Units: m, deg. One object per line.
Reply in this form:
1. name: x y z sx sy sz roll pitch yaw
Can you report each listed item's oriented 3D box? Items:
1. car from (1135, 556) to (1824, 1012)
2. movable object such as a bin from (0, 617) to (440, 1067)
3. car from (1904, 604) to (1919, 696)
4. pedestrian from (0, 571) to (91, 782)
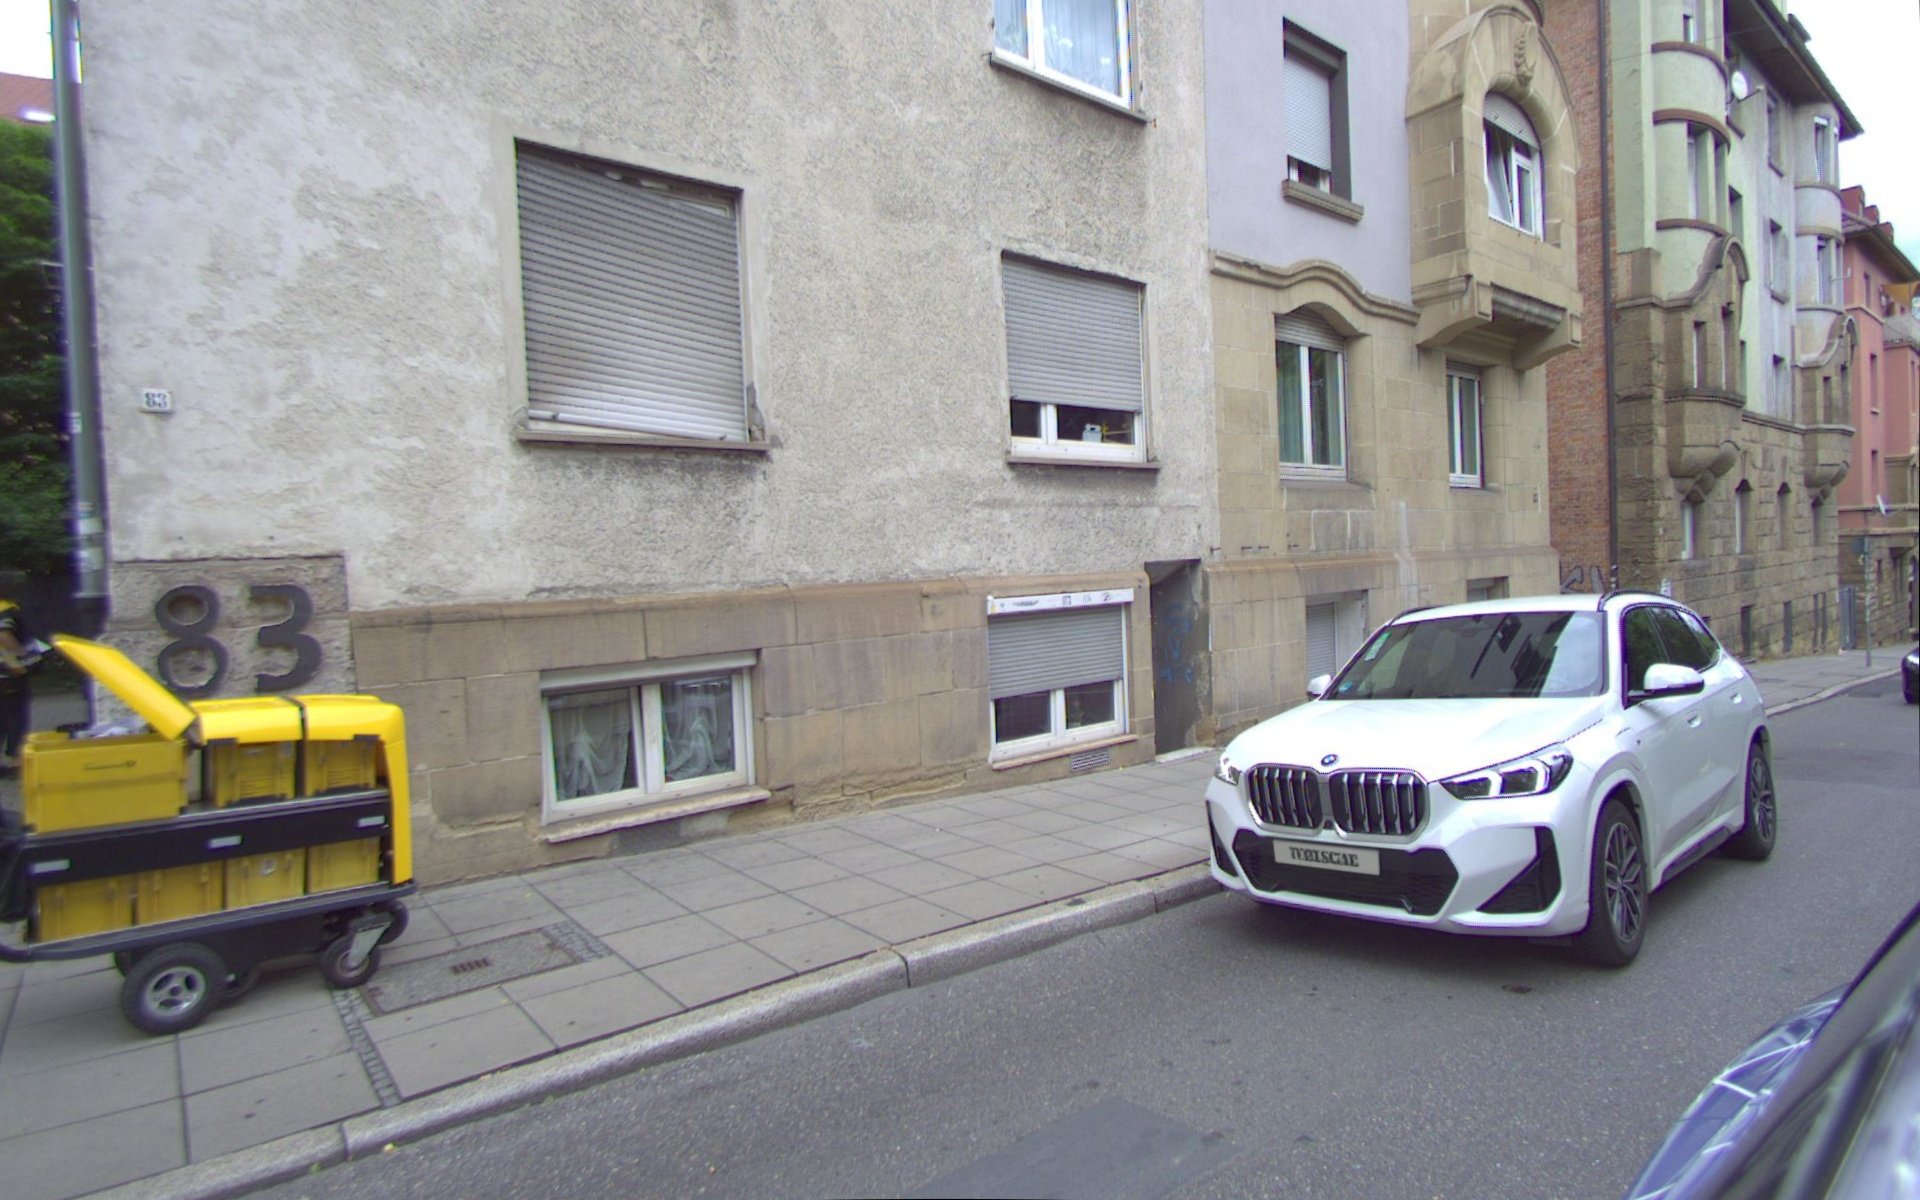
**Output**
1. car: 3.216 0.723 5.806 4.482 1.626 1.852 0 -5 -41
2. movable object such as a bin: -3.066 0.826 3.994 1.664 1.438 0.720 -2 1 -42
3. car: 16.606 0.711 15.846 4.201 1.386 1.854 0 -2 -36
4. pedestrian: -7.993 0.618 8.452 0.729 1.681 0.765 -3 2 -7
